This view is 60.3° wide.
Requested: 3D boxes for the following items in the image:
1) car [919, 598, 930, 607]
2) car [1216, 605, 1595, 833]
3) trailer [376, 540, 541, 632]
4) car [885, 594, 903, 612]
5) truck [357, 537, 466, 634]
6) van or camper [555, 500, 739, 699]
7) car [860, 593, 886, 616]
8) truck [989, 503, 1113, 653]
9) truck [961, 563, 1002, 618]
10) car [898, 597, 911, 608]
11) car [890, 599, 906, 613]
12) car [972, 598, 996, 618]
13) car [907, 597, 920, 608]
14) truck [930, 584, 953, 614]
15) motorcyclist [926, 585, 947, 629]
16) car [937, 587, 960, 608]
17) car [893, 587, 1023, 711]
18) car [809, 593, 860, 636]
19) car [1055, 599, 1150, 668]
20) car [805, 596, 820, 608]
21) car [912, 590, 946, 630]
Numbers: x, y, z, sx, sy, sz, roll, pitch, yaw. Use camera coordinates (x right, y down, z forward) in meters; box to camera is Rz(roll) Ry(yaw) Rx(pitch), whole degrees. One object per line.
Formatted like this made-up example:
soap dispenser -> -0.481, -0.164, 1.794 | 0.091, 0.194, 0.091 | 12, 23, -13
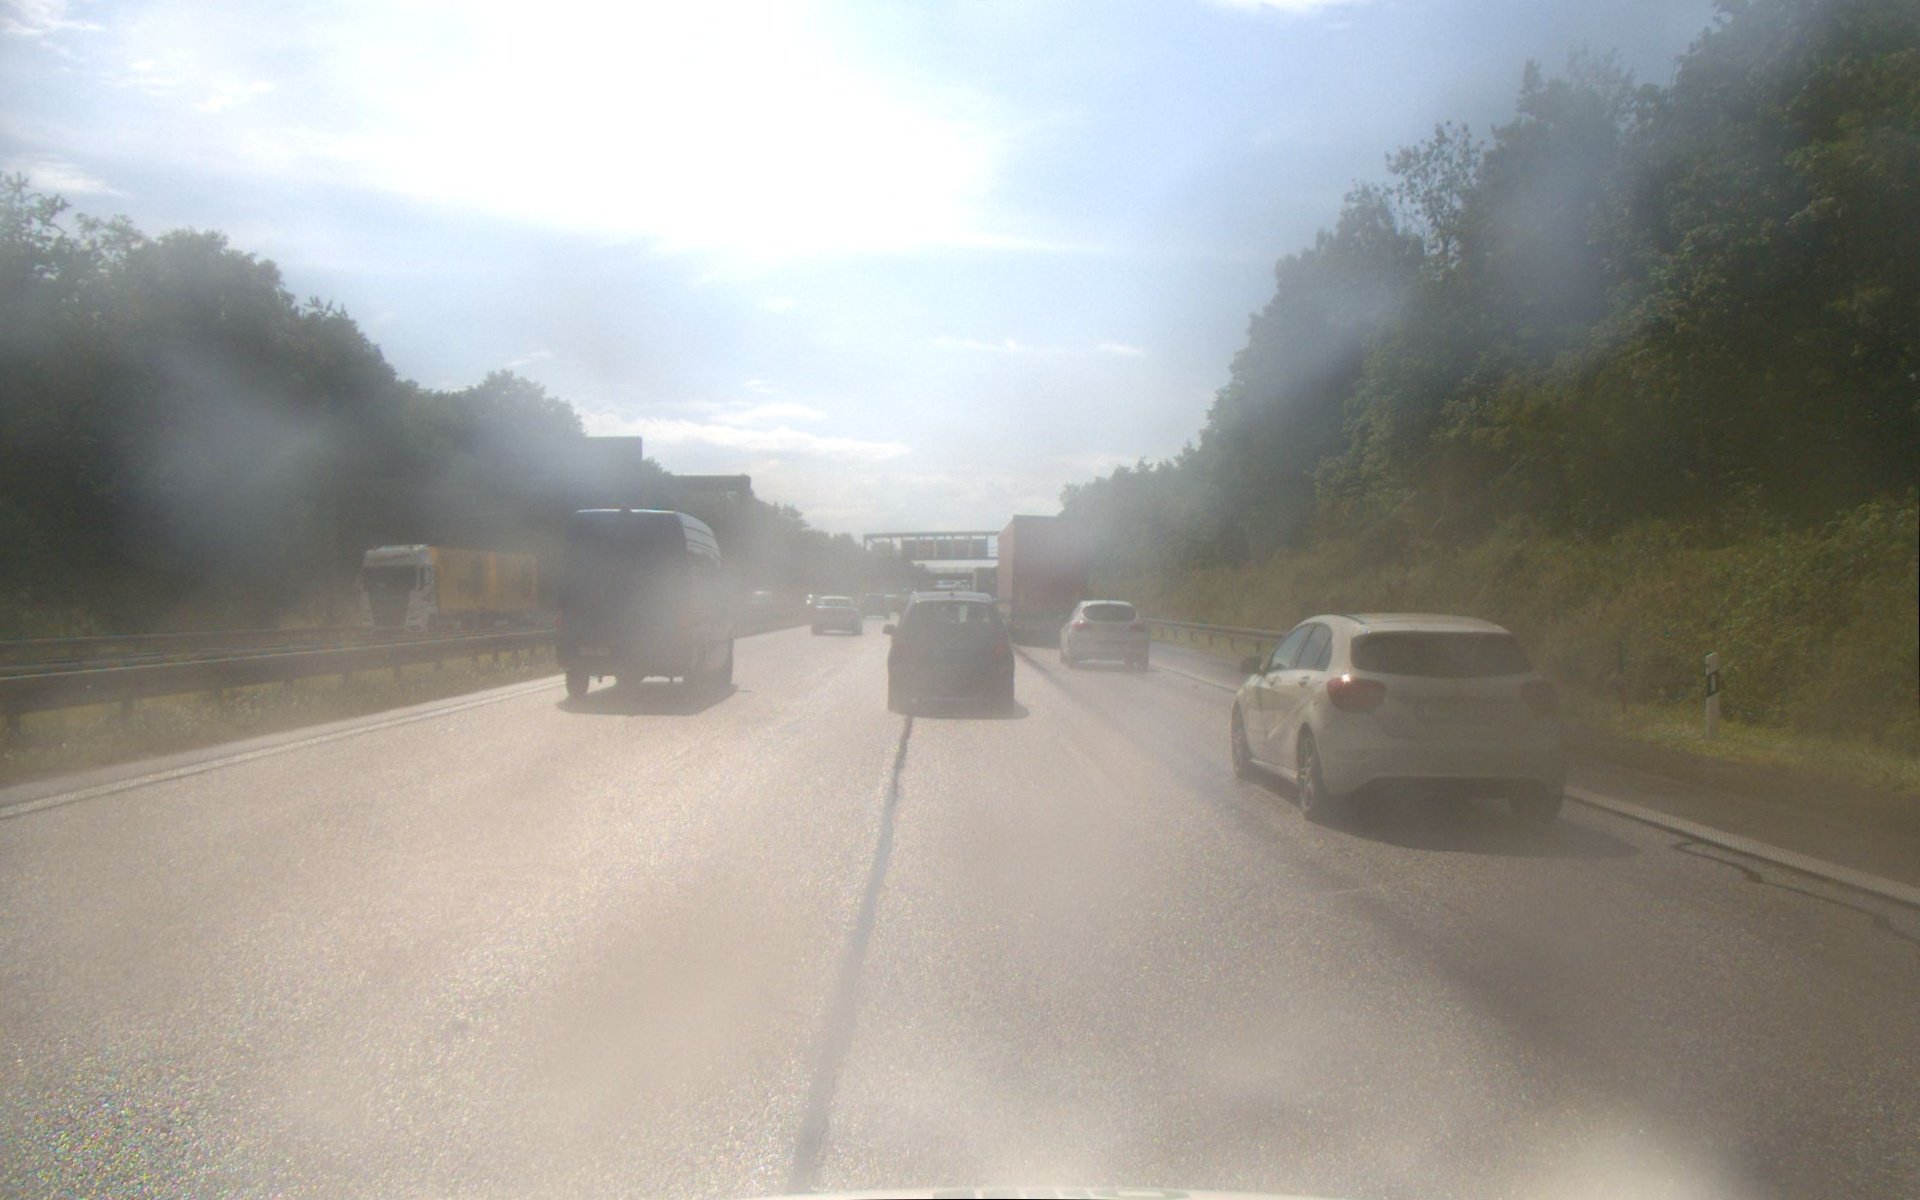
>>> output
car -> -5.199, 0.377, 243.635 | 1.518, 1.289, 3.483 | 1, 0, -3
car -> 3.222, 0.782, 12.846 | 1.658, 1.450, 4.218 | 1, 0, -2
trailer -> -22.446, -0.559, 75.439 | 2.667, 3.708, 16.673 | 1, 0, -1
car -> -5.475, 0.241, 136.928 | 1.431, 1.418, 3.310 | 1, 0, -2
truck -> -22.323, -0.565, 67.568 | 2.667, 3.728, 5.330 | 1, 0, -1
van or camper -> -4.680, 0.003, 25.544 | 1.953, 2.715, 5.382 | 1, 0, -2
car -> -5.841, 0.312, 111.157 | 1.716, 1.482, 3.388 | 1, 0, -2
truck -> 3.098, -0.708, 62.181 | 3.575, 4.803, 16.776 | 1, 0, 0
truck -> 1.776, -0.775, 142.879 | 3.189, 4.558, 12.419 | 1, 0, 0
car -> -6.492, 0.304, 194.142 | 1.518, 1.289, 3.483 | 1, 0, -3
car -> -6.069, 0.581, 162.041 | 1.518, 1.289, 3.483 | 1, 0, -3
car -> 1.670, 0.554, 116.546 | 1.521, 1.407, 3.208 | 1, 0, -2
car -> -5.851, 0.329, 208.334 | 1.518, 1.289, 3.483 | 1, 0, -3
truck -> -1.901, -0.061, 164.914 | 2.148, 2.925, 4.847 | 1, 0, -2
motorcyclist -> -0.904, 0.277, 63.763 | 0.785, 1.662, 1.013 | 1, 0, -2
car -> -0.833, -0.157, 116.885 | 1.521, 1.407, 3.208 | 1, 0, -2
car -> -0.087, 0.649, 23.429 | 1.683, 1.595, 3.483 | 1, 0, -2
car -> -4.877, 0.549, 64.738 | 1.817, 1.578, 3.483 | 1, 0, -2
car -> 3.172, 0.716, 37.454 | 1.647, 1.467, 3.903 | 1, 0, -2
car -> -17.965, 0.223, 201.522 | 1.538, 1.410, 3.791 | 1, 0, 0
car -> -1.460, 0.456, 76.440 | 1.501, 1.777, 3.483 | 1, 0, -2
